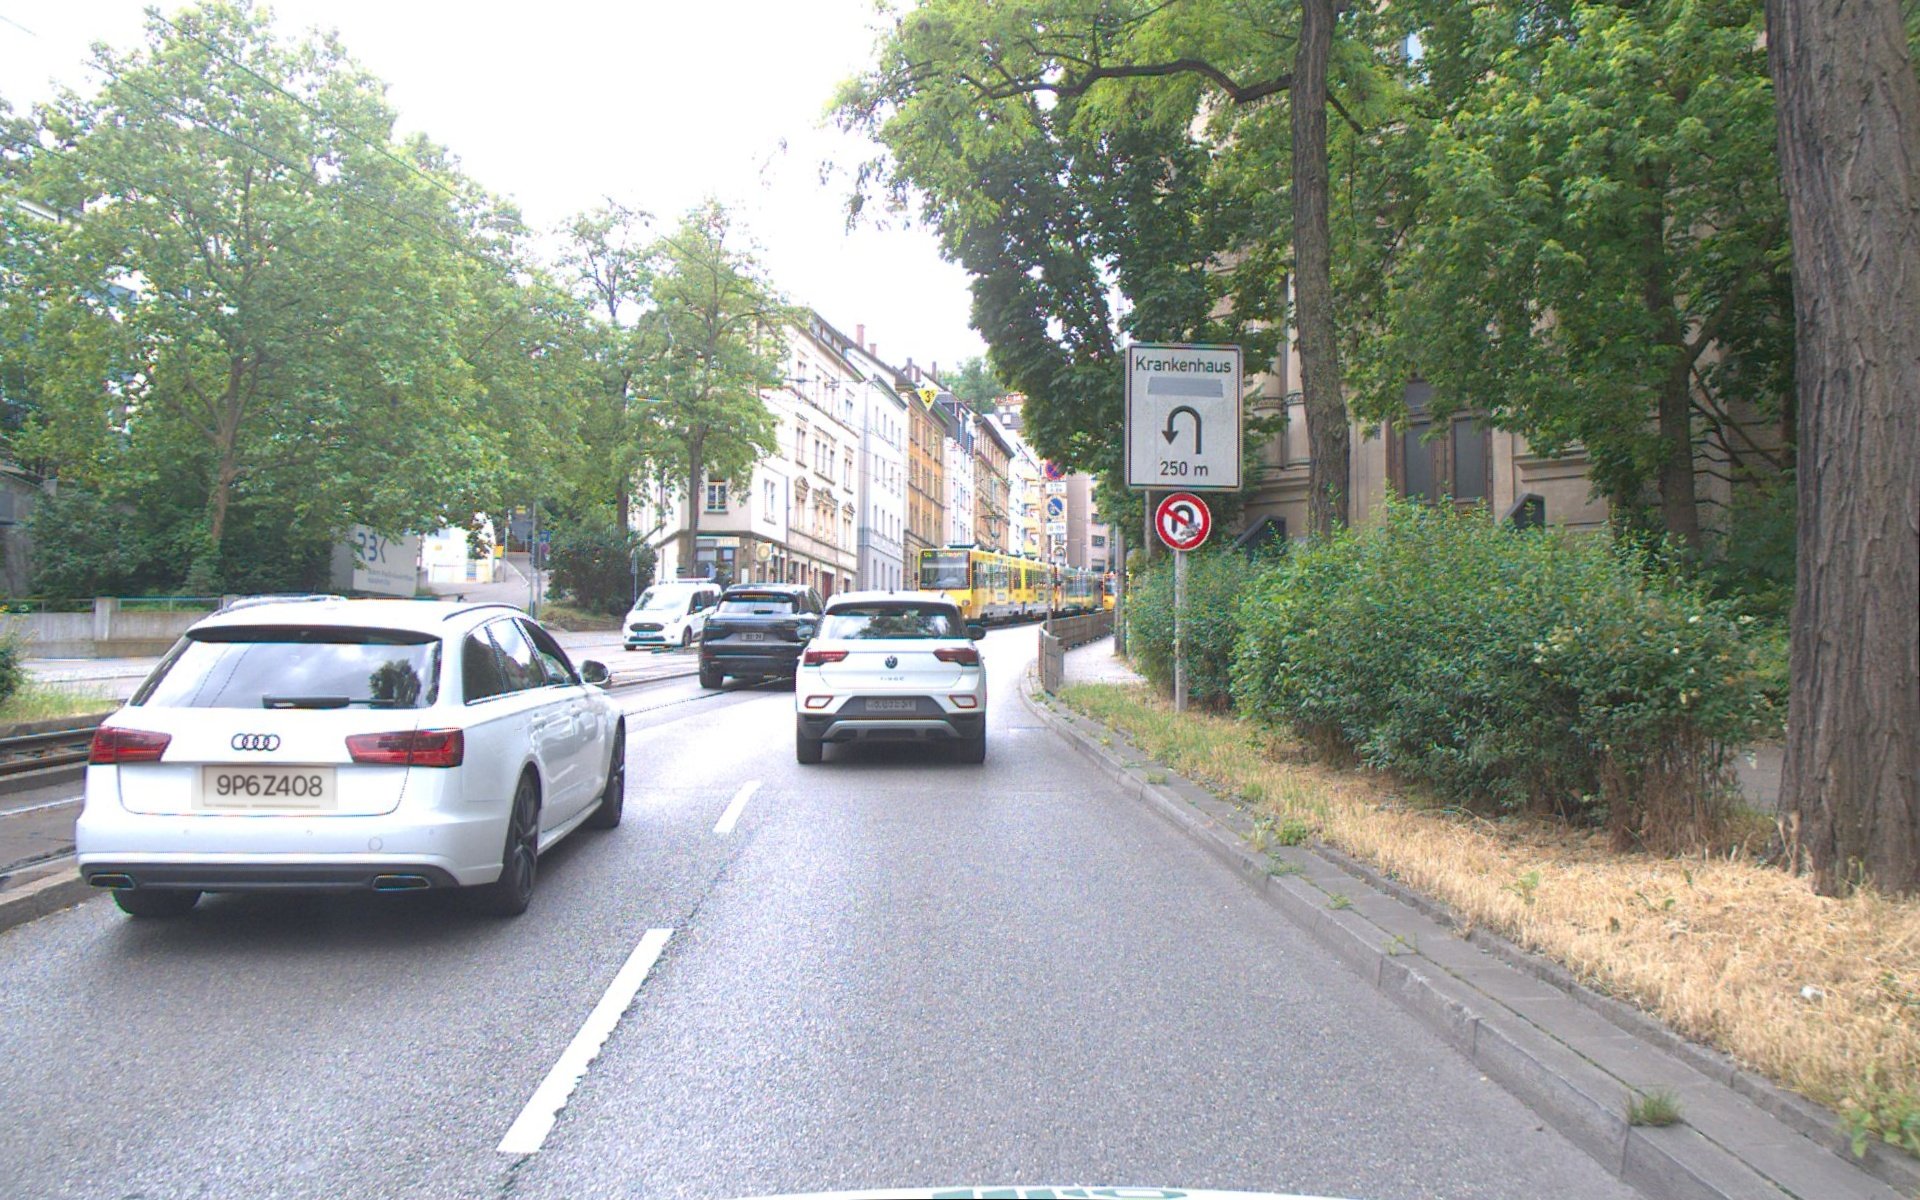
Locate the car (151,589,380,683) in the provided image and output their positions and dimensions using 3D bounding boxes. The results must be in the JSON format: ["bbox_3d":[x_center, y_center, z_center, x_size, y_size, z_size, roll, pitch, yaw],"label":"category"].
[{"bbox_3d":[-11.399,0.550,27.468,1.729,1.432,4.085,-1,0,6],"label":"car"}]

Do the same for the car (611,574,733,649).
[{"bbox_3d":[-8.040,0.279,46.674,1.906,1.980,5.007,0,1,9],"label":"car"}]

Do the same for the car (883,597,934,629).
[{"bbox_3d":[-2.554,0.638,83.237,1.951,1.579,4.003,-1,0,7],"label":"car"}]

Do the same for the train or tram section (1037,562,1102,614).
[{"bbox_3d":[8.899,-0.885,131.705,2.815,3.791,18.772,1,0,11],"label":"train or tram section"}]

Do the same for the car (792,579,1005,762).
[{"bbox_3d":[-0.651,0.603,16.302,1.841,1.582,3.997,0,0,-4],"label":"car"}]

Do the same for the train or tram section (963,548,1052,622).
[{"bbox_3d":[3.021,-0.782,95.907,2.815,3.791,18.718,1,0,9],"label":"train or tram section"}]

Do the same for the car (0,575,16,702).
[{"bbox_3d":[-12.157,0.460,17.627,1.623,1.468,3.743,-1,0,10],"label":"car"}]

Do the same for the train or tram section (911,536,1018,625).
[{"bbox_3d":[0.453,-0.854,79.326,2.821,3.791,14.868,1,0,9],"label":"train or tram section"}]

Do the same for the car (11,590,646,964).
[{"bbox_3d":[-2.945,0.698,8.903,1.841,1.480,4.615,0,0,-3],"label":"car"}]

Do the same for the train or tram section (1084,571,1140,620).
[{"bbox_3d":[14.301,-0.424,153.978,2.952,4.287,18.875,0,0,12],"label":"train or tram section"}]

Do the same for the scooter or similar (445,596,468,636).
[{"bbox_3d":[-16.007,0.499,52.606,0.480,1.240,1.637,2,-1,-11],"label":"scooter or similar"}]

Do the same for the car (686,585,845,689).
[{"bbox_3d":[-3.165,0.572,27.845,1.995,1.599,4.359,0,0,2],"label":"car"}]

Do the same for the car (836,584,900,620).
[{"bbox_3d":[-3.958,0.083,71.514,1.951,1.530,4.003,0,0,9],"label":"car"}]
